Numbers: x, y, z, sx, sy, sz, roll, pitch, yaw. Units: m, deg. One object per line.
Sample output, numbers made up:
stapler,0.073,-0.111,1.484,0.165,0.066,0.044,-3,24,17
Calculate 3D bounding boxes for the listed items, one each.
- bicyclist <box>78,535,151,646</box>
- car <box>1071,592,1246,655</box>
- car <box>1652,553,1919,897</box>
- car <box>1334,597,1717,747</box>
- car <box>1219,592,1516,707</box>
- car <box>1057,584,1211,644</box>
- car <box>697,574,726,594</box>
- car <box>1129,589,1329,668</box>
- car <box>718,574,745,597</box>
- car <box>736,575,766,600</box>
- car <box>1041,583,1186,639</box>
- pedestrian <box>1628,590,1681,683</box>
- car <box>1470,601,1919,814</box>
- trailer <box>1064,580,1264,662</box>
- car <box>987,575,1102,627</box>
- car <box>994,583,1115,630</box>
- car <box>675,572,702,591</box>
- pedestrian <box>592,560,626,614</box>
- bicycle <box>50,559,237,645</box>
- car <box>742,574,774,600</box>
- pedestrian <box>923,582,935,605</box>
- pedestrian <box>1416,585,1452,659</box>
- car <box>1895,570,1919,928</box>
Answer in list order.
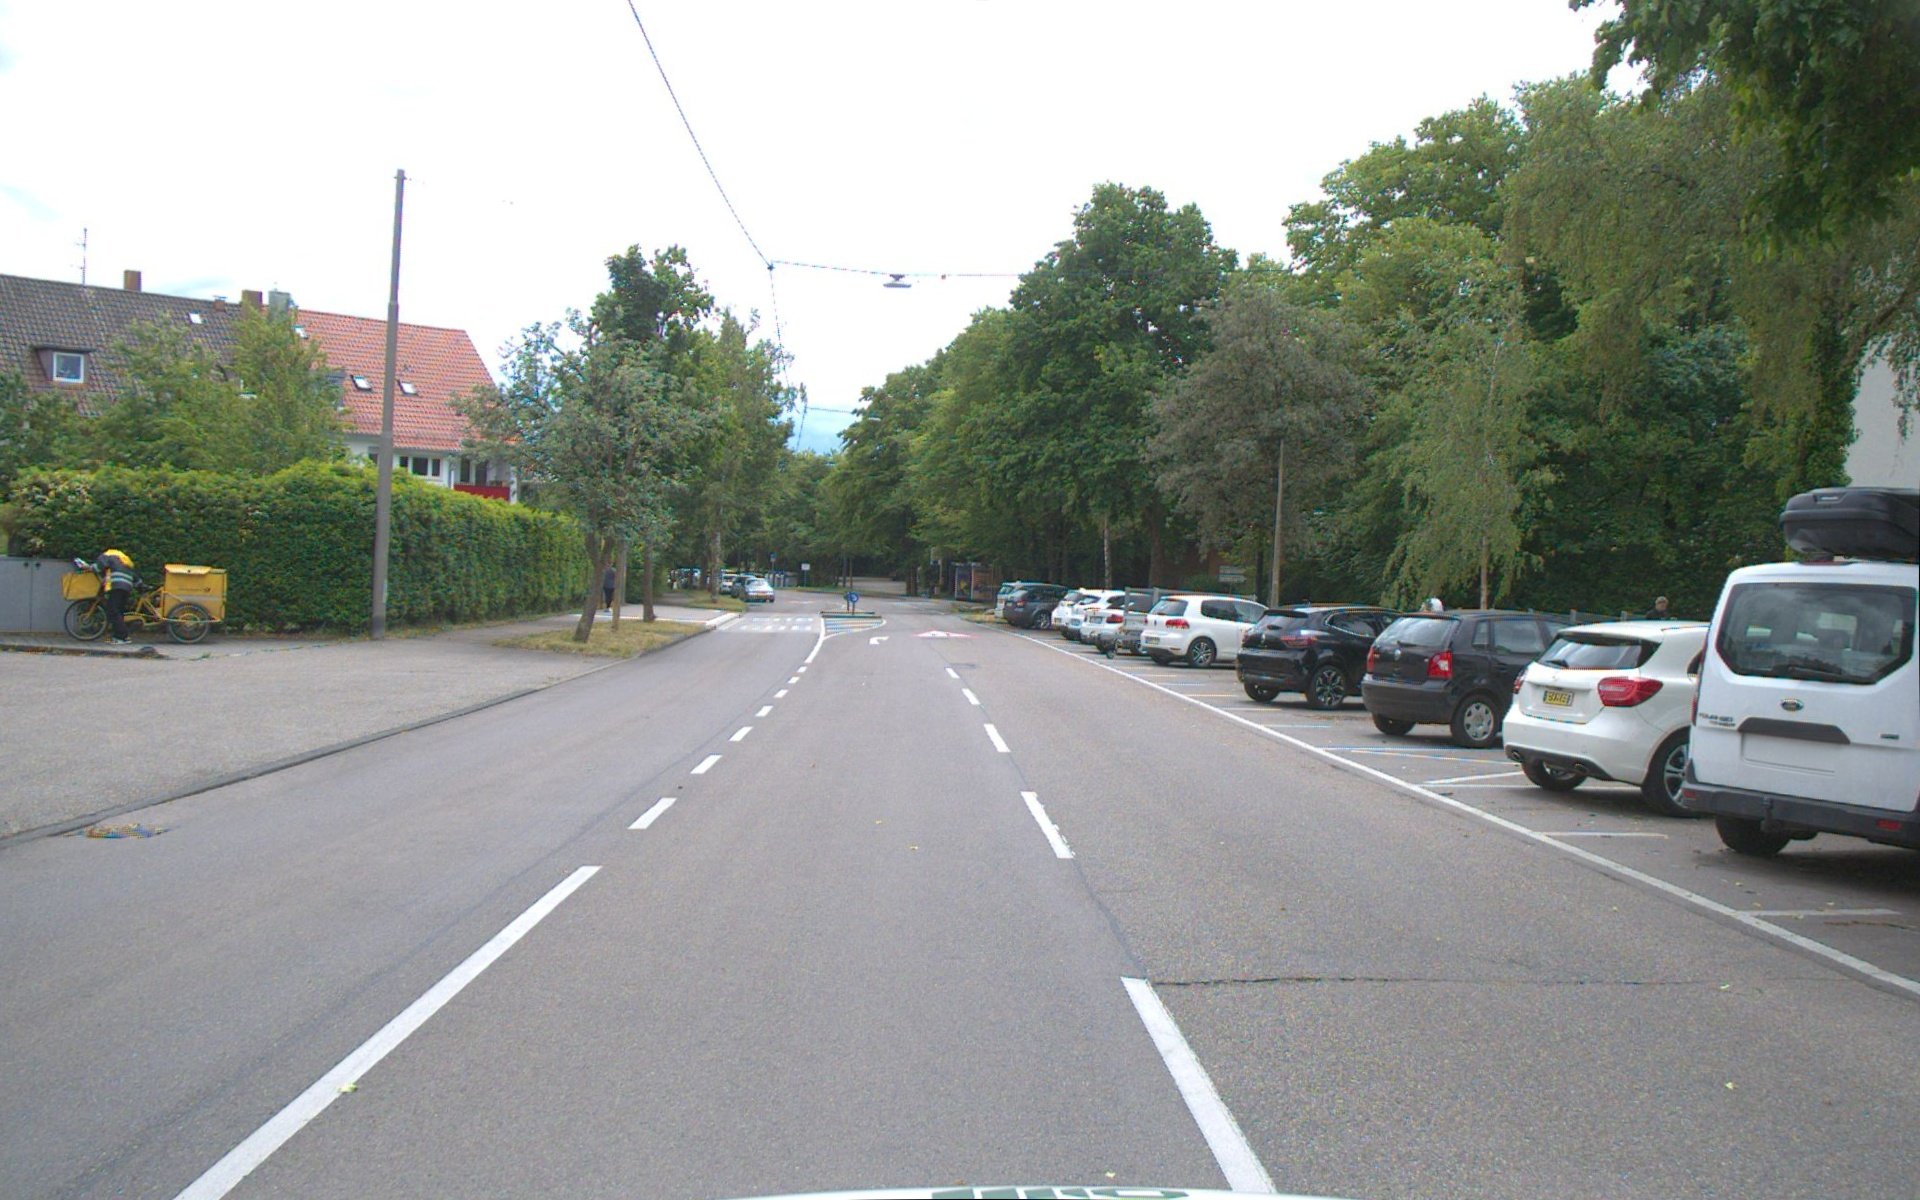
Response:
bicyclist,-13.541,-0.158,26.499,0.697,1.727,0.847,2,1,-3
car,4.789,0.562,39.861,3.835,1.332,1.730,2,0,-25
car,6.492,0.726,10.360,4.039,1.785,1.771,3,1,-28
car,6.443,0.814,18.890,3.828,1.474,1.833,3,0,-21
car,5.880,0.714,23.879,3.834,1.474,1.830,2,0,-25
car,4.791,0.391,45.647,3.828,1.454,1.733,2,0,-21
car,-19.231,-1.262,128.048,1.835,1.496,3.986,2,1,-14
car,5.692,0.612,35.016,3.831,1.474,1.732,2,0,-23
car,-16.182,-1.037,117.160,1.832,1.496,3.993,2,1,-8
car,-13.349,-0.831,105.401,1.832,1.496,3.993,2,1,-8
car,4.466,0.316,48.216,3.828,1.454,1.733,2,0,-21
pedestrian,12.516,0.646,29.818,0.636,1.631,0.744,2,0,4
car,6.445,0.864,13.531,3.902,1.474,1.910,3,0,-16
trailer,4.581,0.467,37.168,4.093,1.600,1.702,3,0,-20
car,3.101,0.033,60.974,3.828,1.697,1.733,2,0,-21
car,3.319,0.218,58.149,3.828,1.454,1.733,2,0,-21
car,-22.585,-1.579,137.496,1.835,1.496,3.986,2,1,-14
pedestrian,-11.766,-0.433,55.485,0.955,1.760,0.848,2,0,-5
bicycle,-13.223,0.034,26.872,2.605,1.288,0.842,2,1,-21
car,-12.211,-0.786,99.846,1.832,1.496,3.993,2,1,-8
pedestrian,-2.171,-0.458,115.728,0.725,1.597,0.652,2,0,10
pedestrian,10.982,0.503,38.343,0.636,1.700,0.744,2,0,5
car,6.562,0.809,7.439,3.933,1.648,1.876,3,1,-17
